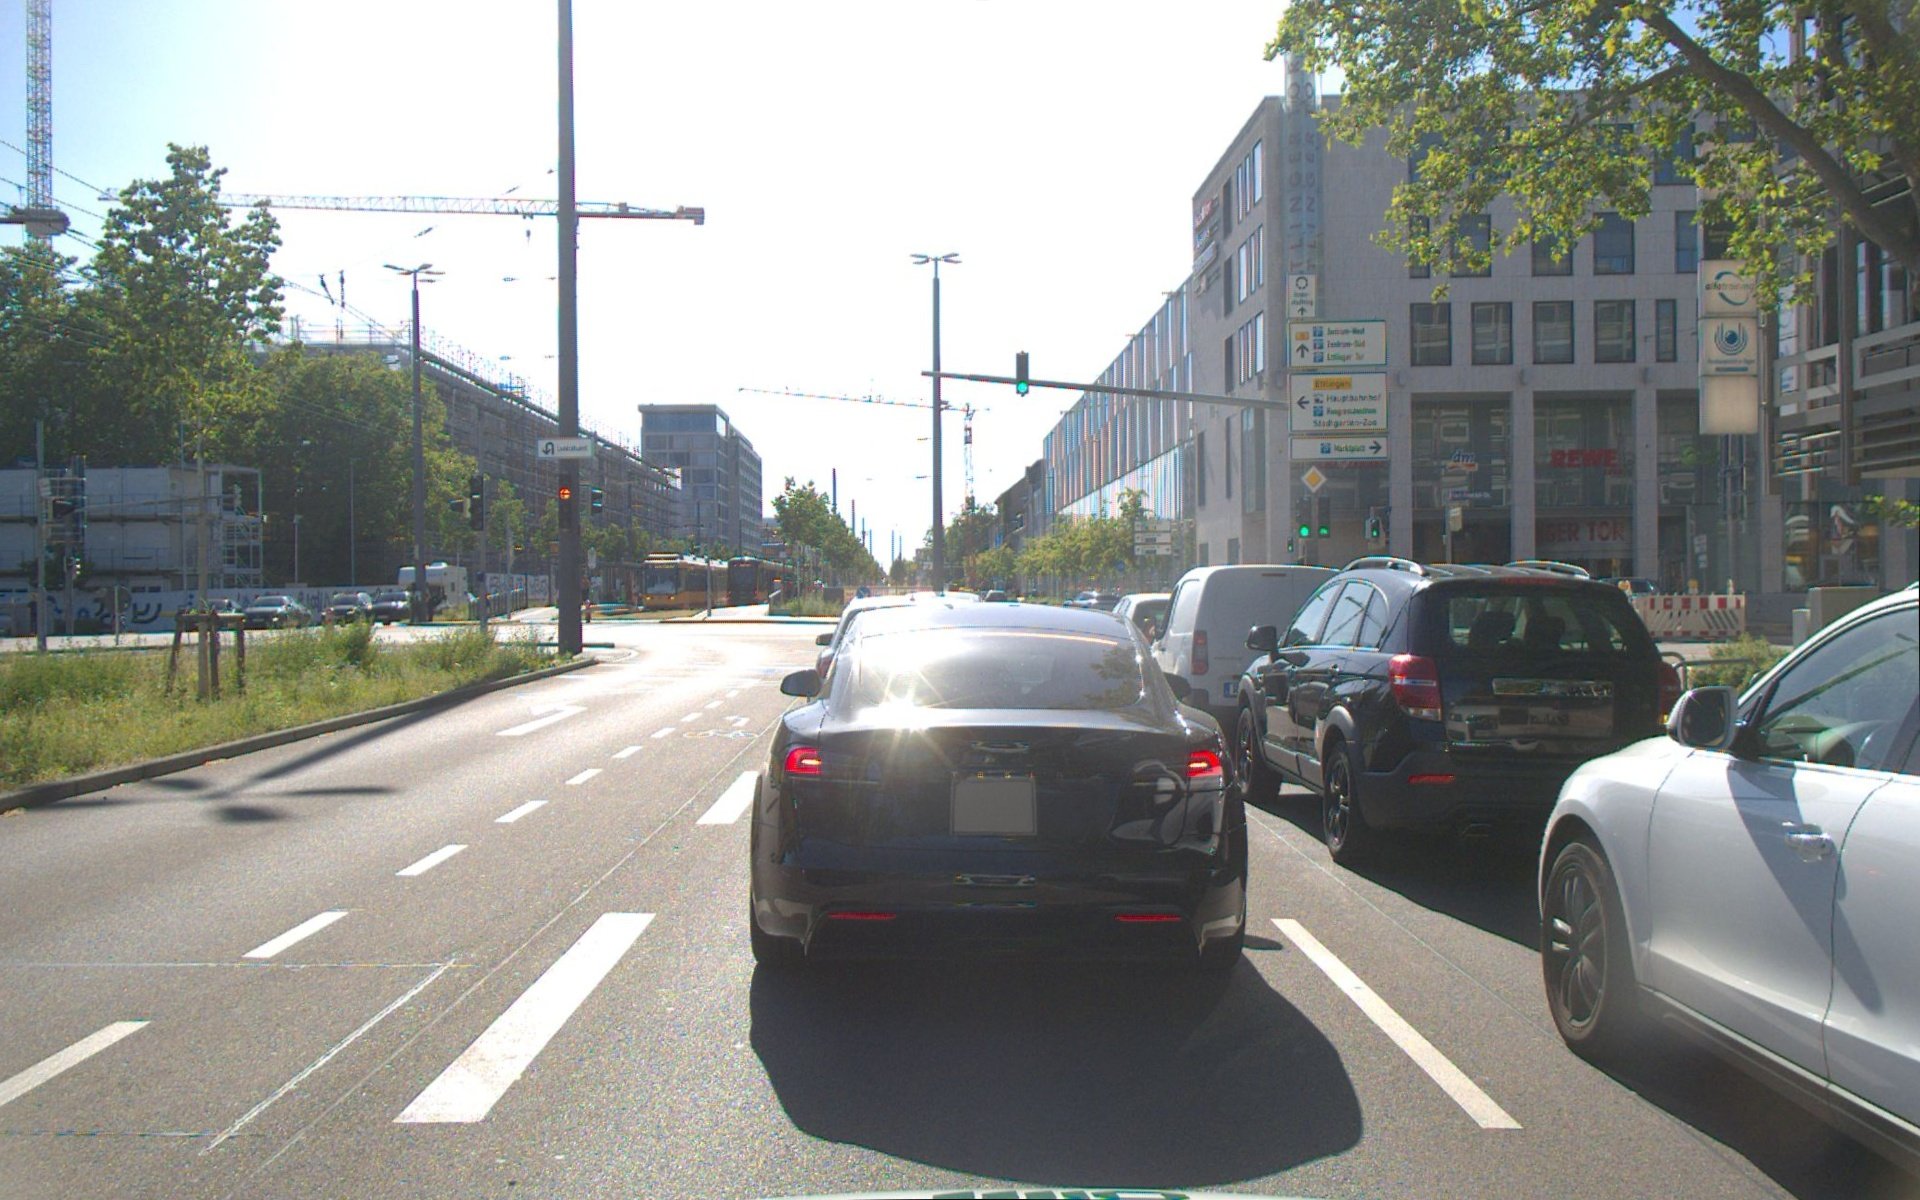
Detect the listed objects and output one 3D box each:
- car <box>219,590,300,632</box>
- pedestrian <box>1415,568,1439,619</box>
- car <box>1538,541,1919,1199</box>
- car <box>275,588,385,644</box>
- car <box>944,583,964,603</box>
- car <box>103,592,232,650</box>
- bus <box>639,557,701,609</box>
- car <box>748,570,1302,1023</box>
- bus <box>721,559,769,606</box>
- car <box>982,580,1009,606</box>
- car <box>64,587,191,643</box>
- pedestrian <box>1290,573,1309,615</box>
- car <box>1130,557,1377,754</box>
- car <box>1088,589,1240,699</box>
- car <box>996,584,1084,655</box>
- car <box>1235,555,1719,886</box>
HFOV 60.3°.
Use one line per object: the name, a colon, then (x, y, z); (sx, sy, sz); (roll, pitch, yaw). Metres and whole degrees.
car: (-29.495, 0.464, 69.792); (1.800, 1.641, 3.894); (1, 0, -2)
pedestrian: (13.665, -0.192, 48.384); (0.550, 1.466, 0.632); (1, -1, 6)
car: (2.950, 0.685, 3.975); (1.686, 1.646, 4.186); (0, 1, 0)
car: (-14.464, 0.356, 38.117); (1.348, 1.199, 3.219); (1, 0, -2)
car: (-0.648, -0.706, 171.434); (1.953, 2.049, 3.999); (1, 0, -1)
car: (-17.540, 0.456, 36.741); (1.348, 1.199, 3.219); (1, 0, -2)
bus: (-17.075, -0.927, 97.859); (2.576, 2.832, 8.837); (1, 0, -4)
car: (0.161, 0.634, 7.598); (1.873, 1.512, 4.008); (0, 1, -2)
bus: (-14.885, -1.138, 114.989); (2.576, 3.011, 9.891); (1, 0, -4)
car: (2.849, -0.537, 132.734); (1.953, 2.049, 3.999); (1, 0, -1)
car: (-19.203, 0.344, 38.261); (1.348, 1.199, 3.219); (1, 0, -2)
pedestrian: (11.849, -0.202, 57.724); (0.550, 1.466, 0.632); (1, -1, 6)
car: (2.943, 0.484, 17.446); (1.687, 1.813, 4.184); (0, 1, -3)
car: (2.939, 0.588, 24.574); (1.686, 1.456, 4.186); (0, 1, -1)
car: (1.694, 0.382, 36.290); (1.686, 1.456, 4.186); (0, 1, -1)
car: (2.994, 0.587, 10.542); (1.687, 1.682, 4.185); (0, 1, -2)
